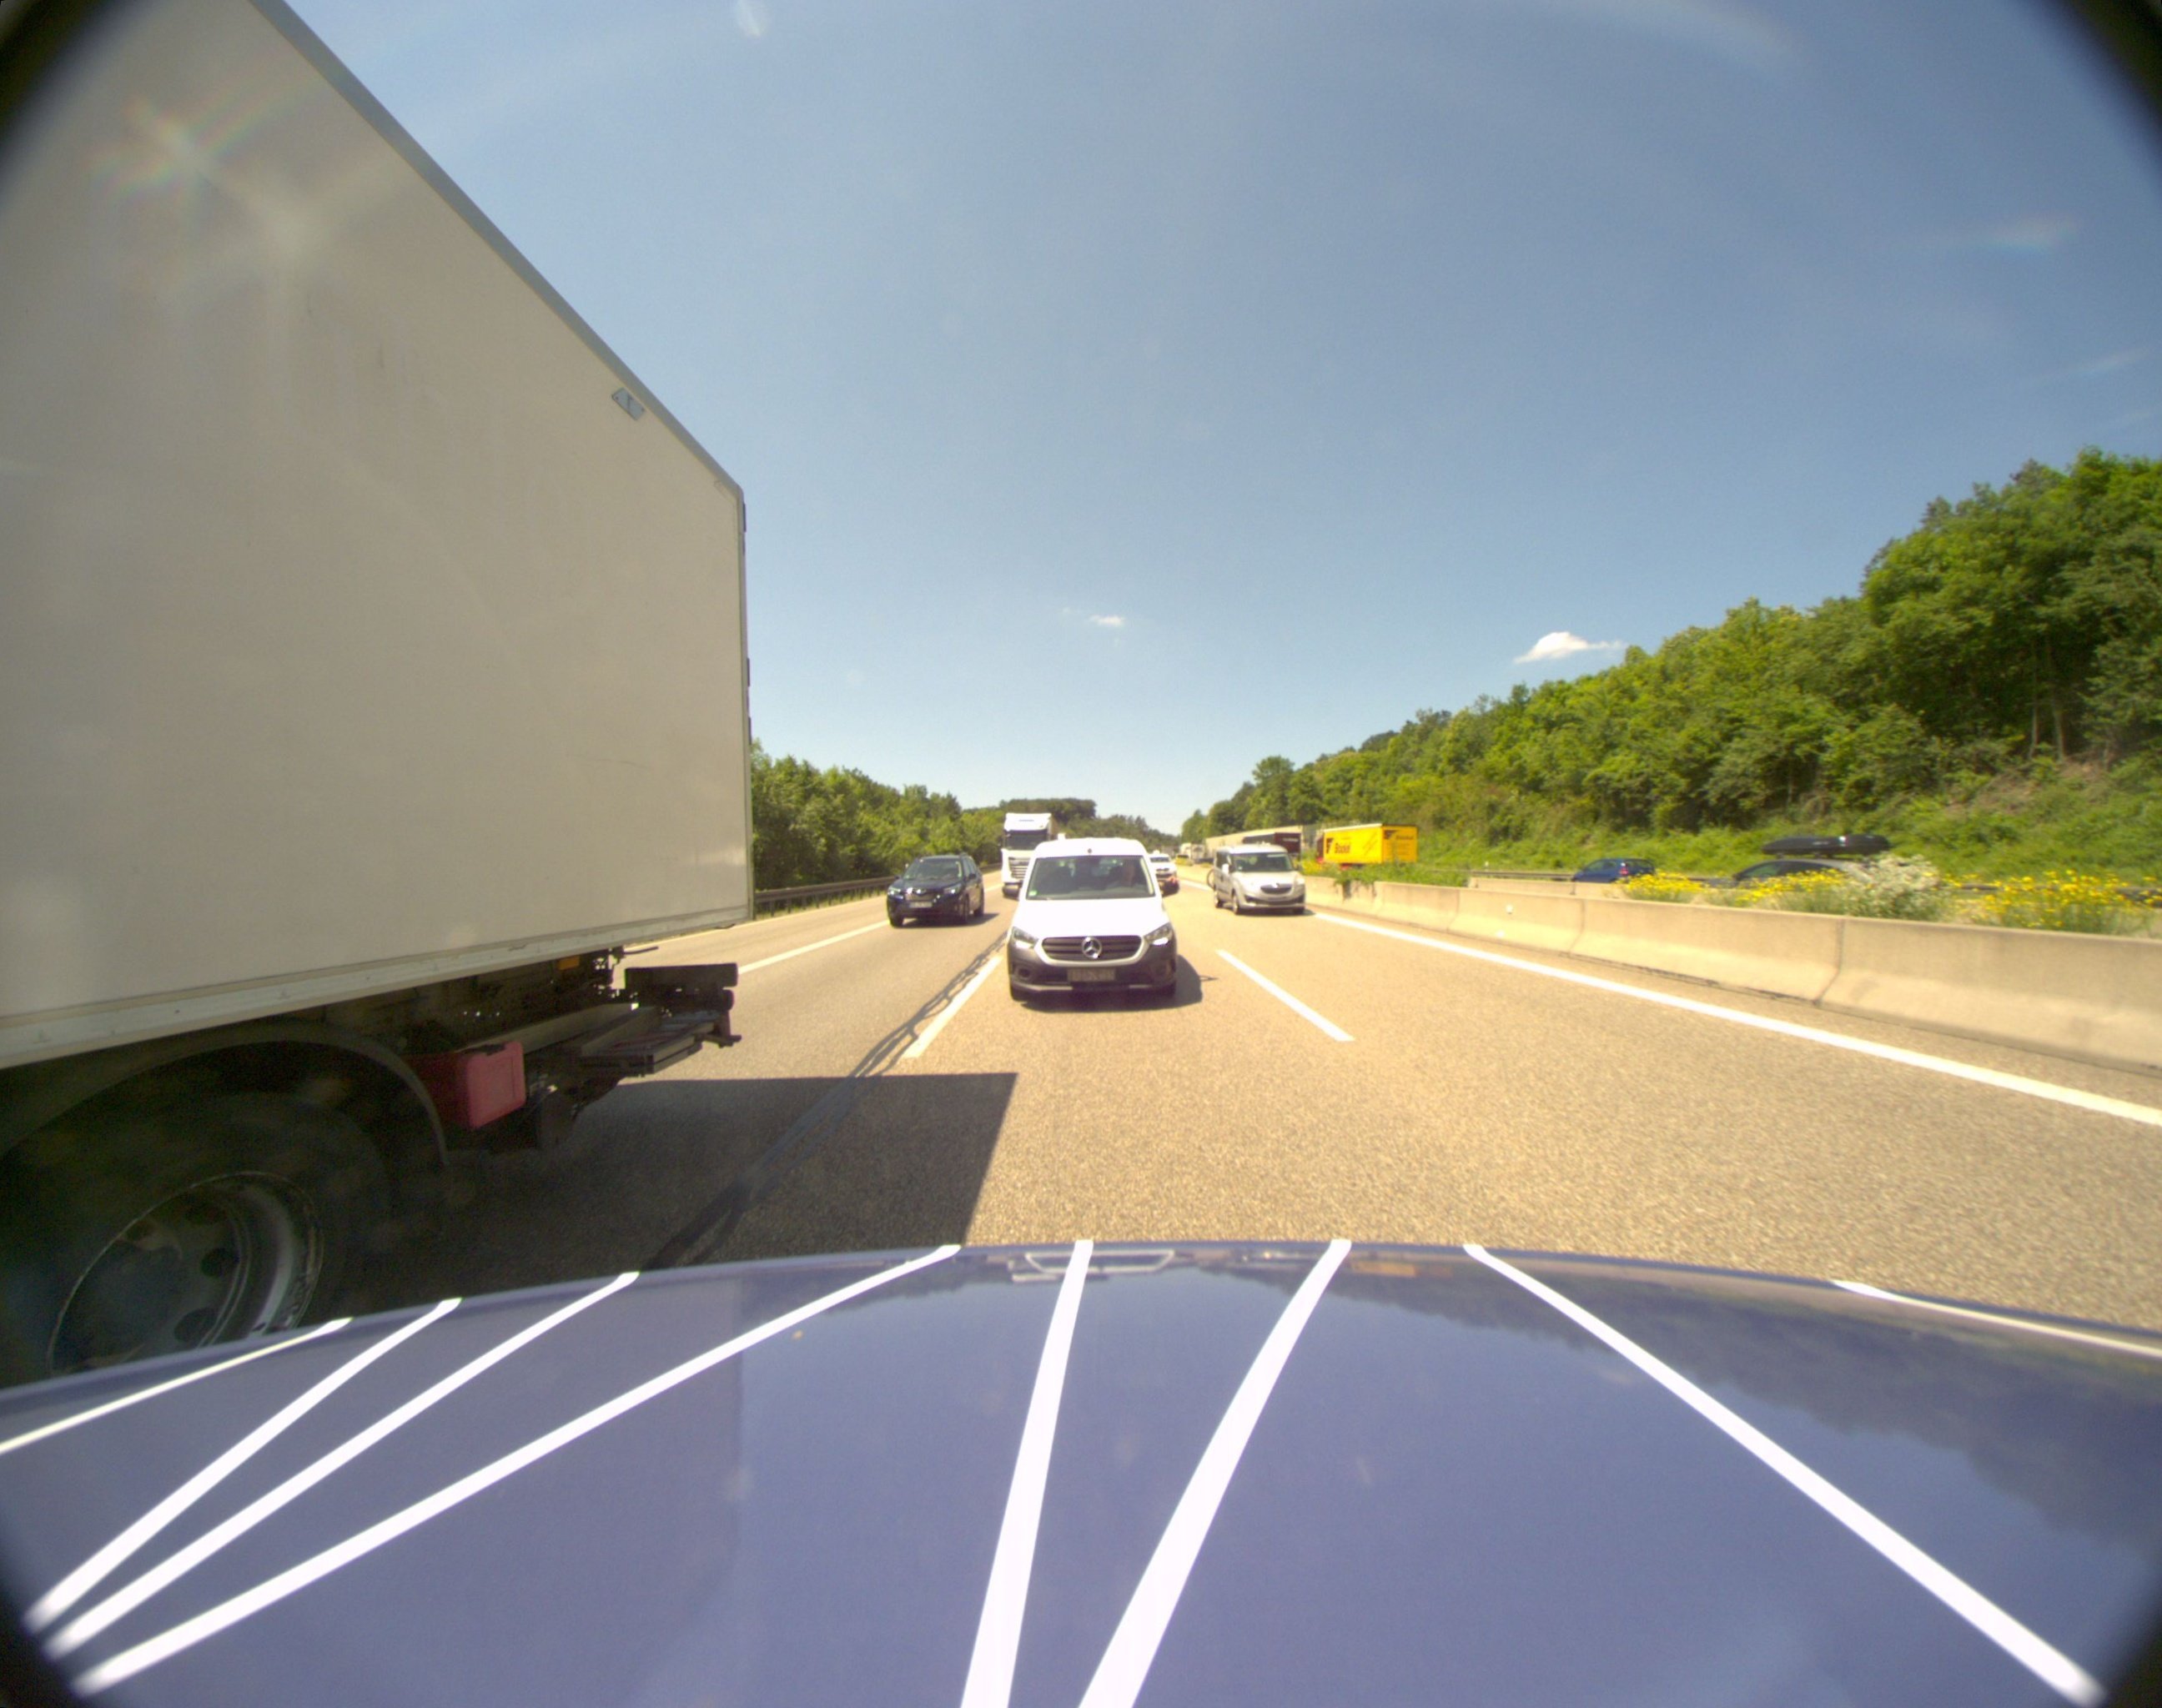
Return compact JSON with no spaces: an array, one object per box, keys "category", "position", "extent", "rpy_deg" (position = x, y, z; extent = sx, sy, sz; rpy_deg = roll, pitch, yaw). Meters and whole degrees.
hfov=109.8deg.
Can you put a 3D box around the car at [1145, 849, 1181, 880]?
[{"category":"car","position":[5.086,0.624,47.576],"extent":[1.998,1.827,4.001],"rpy_deg":[1,1,4]}]

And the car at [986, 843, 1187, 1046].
[{"category":"car","position":[0.110,0.788,8.815],"extent":[1.729,1.760,4.313],"rpy_deg":[-1,0,2]}]

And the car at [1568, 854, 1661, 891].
[{"category":"car","position":[22.777,0.746,32.577],"extent":[1.413,1.499,3.707],"rpy_deg":[-1,0,1]}]

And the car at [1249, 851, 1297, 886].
[{"category":"car","position":[12.072,0.882,47.973],"extent":[1.998,2.002,3.999],"rpy_deg":[1,1,1]}]

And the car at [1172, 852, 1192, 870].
[{"category":"car","position":[12.849,0.876,96.637],"extent":[1.884,2.002,4.468],"rpy_deg":[2,1,1]}]

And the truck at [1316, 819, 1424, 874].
[{"category":"truck","position":[23.611,-0.684,63.560],"extent":[3.045,3.960,16.263],"rpy_deg":[0,1,1]}]

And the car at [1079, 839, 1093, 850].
[{"category":"car","position":[1.163,-2.187,174.097],"extent":[2.721,2.534,5.941],"rpy_deg":[1,1,3]}]

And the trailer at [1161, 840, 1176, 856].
[{"category":"trailer","position":[24.676,-1.726,215.341],"extent":[2.842,4.141,14.737],"rpy_deg":[1,1,2]}]

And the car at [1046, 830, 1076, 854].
[{"category":"car","position":[-2.183,-1.312,84.068],"extent":[2.721,2.534,5.941],"rpy_deg":[1,1,3]}]

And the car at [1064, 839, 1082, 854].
[{"category":"car","position":[-1.425,-1.354,136.903],"extent":[2.721,2.534,5.941],"rpy_deg":[1,1,3]}]

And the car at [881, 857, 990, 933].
[{"category":"car","position":[-3.533,0.934,19.245],"extent":[1.816,1.658,4.203],"rpy_deg":[-1,0,1]}]

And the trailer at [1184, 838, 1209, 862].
[{"category":"trailer","position":[21.796,-0.860,143.909],"extent":[2.810,4.313,14.035],"rpy_deg":[1,1,1]}]

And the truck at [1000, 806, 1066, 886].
[{"category":"truck","position":[-2.673,-0.472,48.019],"extent":[2.790,4.145,16.267],"rpy_deg":[-1,0,1]}]

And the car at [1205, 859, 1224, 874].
[{"category":"car","position":[19.326,1.739,110.291],"extent":[1.998,2.002,3.999],"rpy_deg":[1,1,1]}]

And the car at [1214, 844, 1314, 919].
[{"category":"car","position":[4.770,0.657,20.390],"extent":[1.780,1.833,4.000],"rpy_deg":[0,0,1]}]

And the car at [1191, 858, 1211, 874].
[{"category":"car","position":[15.653,1.560,99.185],"extent":[1.998,2.002,3.999],"rpy_deg":[1,1,1]}]

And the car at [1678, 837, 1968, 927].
[{"category":"car","position":[15.224,0.478,16.043],"extent":[1.691,1.598,4.513],"rpy_deg":[1,1,1]}]

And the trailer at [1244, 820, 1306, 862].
[{"category":"trailer","position":[19.977,-1.328,79.267],"extent":[2.913,3.951,13.886],"rpy_deg":[1,1,1]}]

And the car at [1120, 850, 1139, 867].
[{"category":"car","position":[5.529,0.510,87.373],"extent":[1.998,1.783,4.000],"rpy_deg":[-1,0,0]}]

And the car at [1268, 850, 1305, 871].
[{"category":"car","position":[16.157,0.484,59.940],"extent":[1.689,1.549,4.421],"rpy_deg":[1,1,1]}]
